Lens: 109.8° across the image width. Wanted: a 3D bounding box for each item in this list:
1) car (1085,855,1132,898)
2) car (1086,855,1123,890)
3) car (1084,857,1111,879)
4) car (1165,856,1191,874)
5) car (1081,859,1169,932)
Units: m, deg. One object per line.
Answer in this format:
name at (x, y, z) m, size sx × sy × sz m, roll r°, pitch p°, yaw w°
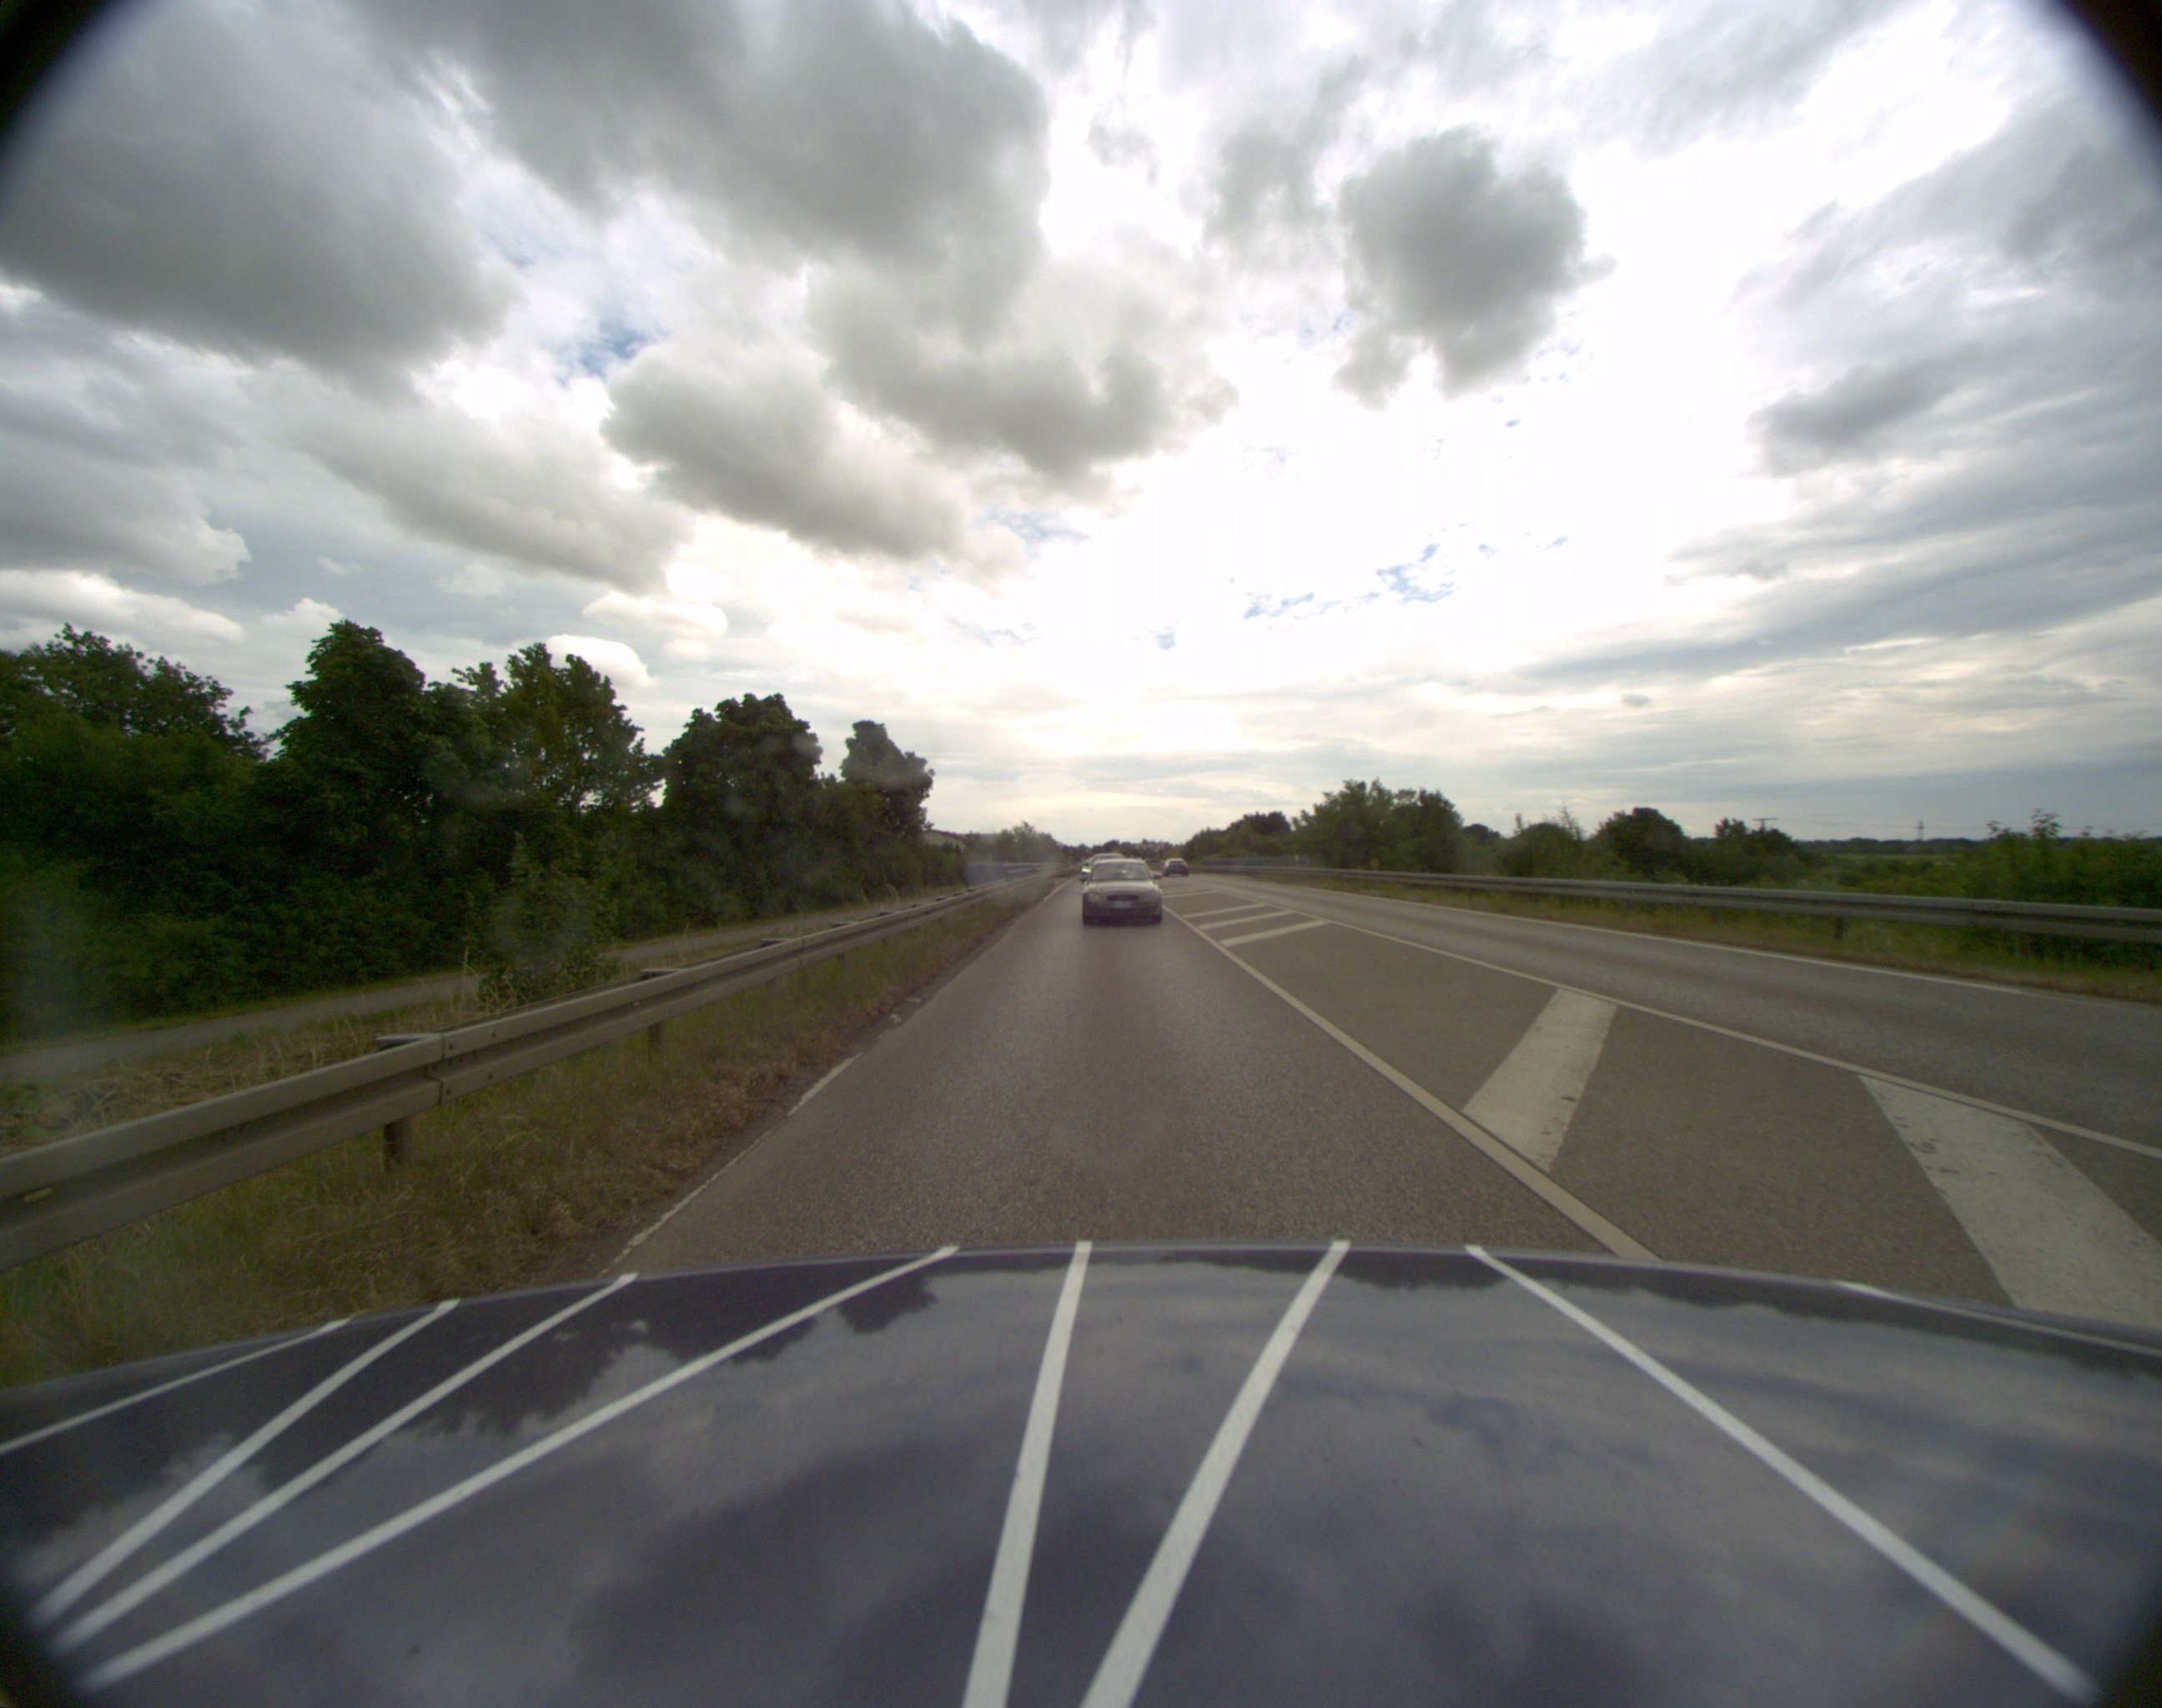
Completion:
car at (1.062, 0.839, 30.466) m, size 1.684 × 1.521 × 4.000 m, roll -2°, pitch 0°, yaw 1°
car at (1.117, 0.825, 35.716) m, size 1.602 × 1.494 × 3.962 m, roll -2°, pitch 0°, yaw 2°
car at (1.107, 0.940, 51.311) m, size 1.670 × 1.339 × 4.000 m, roll -2°, pitch 0°, yaw 1°
car at (7.923, 0.844, 62.507) m, size 1.626 × 1.371 × 4.512 m, roll -1°, pitch 0°, yaw 1°
car at (0.926, 0.861, 17.508) m, size 1.768 × 1.383 × 3.876 m, roll -2°, pitch 1°, yaw 1°
